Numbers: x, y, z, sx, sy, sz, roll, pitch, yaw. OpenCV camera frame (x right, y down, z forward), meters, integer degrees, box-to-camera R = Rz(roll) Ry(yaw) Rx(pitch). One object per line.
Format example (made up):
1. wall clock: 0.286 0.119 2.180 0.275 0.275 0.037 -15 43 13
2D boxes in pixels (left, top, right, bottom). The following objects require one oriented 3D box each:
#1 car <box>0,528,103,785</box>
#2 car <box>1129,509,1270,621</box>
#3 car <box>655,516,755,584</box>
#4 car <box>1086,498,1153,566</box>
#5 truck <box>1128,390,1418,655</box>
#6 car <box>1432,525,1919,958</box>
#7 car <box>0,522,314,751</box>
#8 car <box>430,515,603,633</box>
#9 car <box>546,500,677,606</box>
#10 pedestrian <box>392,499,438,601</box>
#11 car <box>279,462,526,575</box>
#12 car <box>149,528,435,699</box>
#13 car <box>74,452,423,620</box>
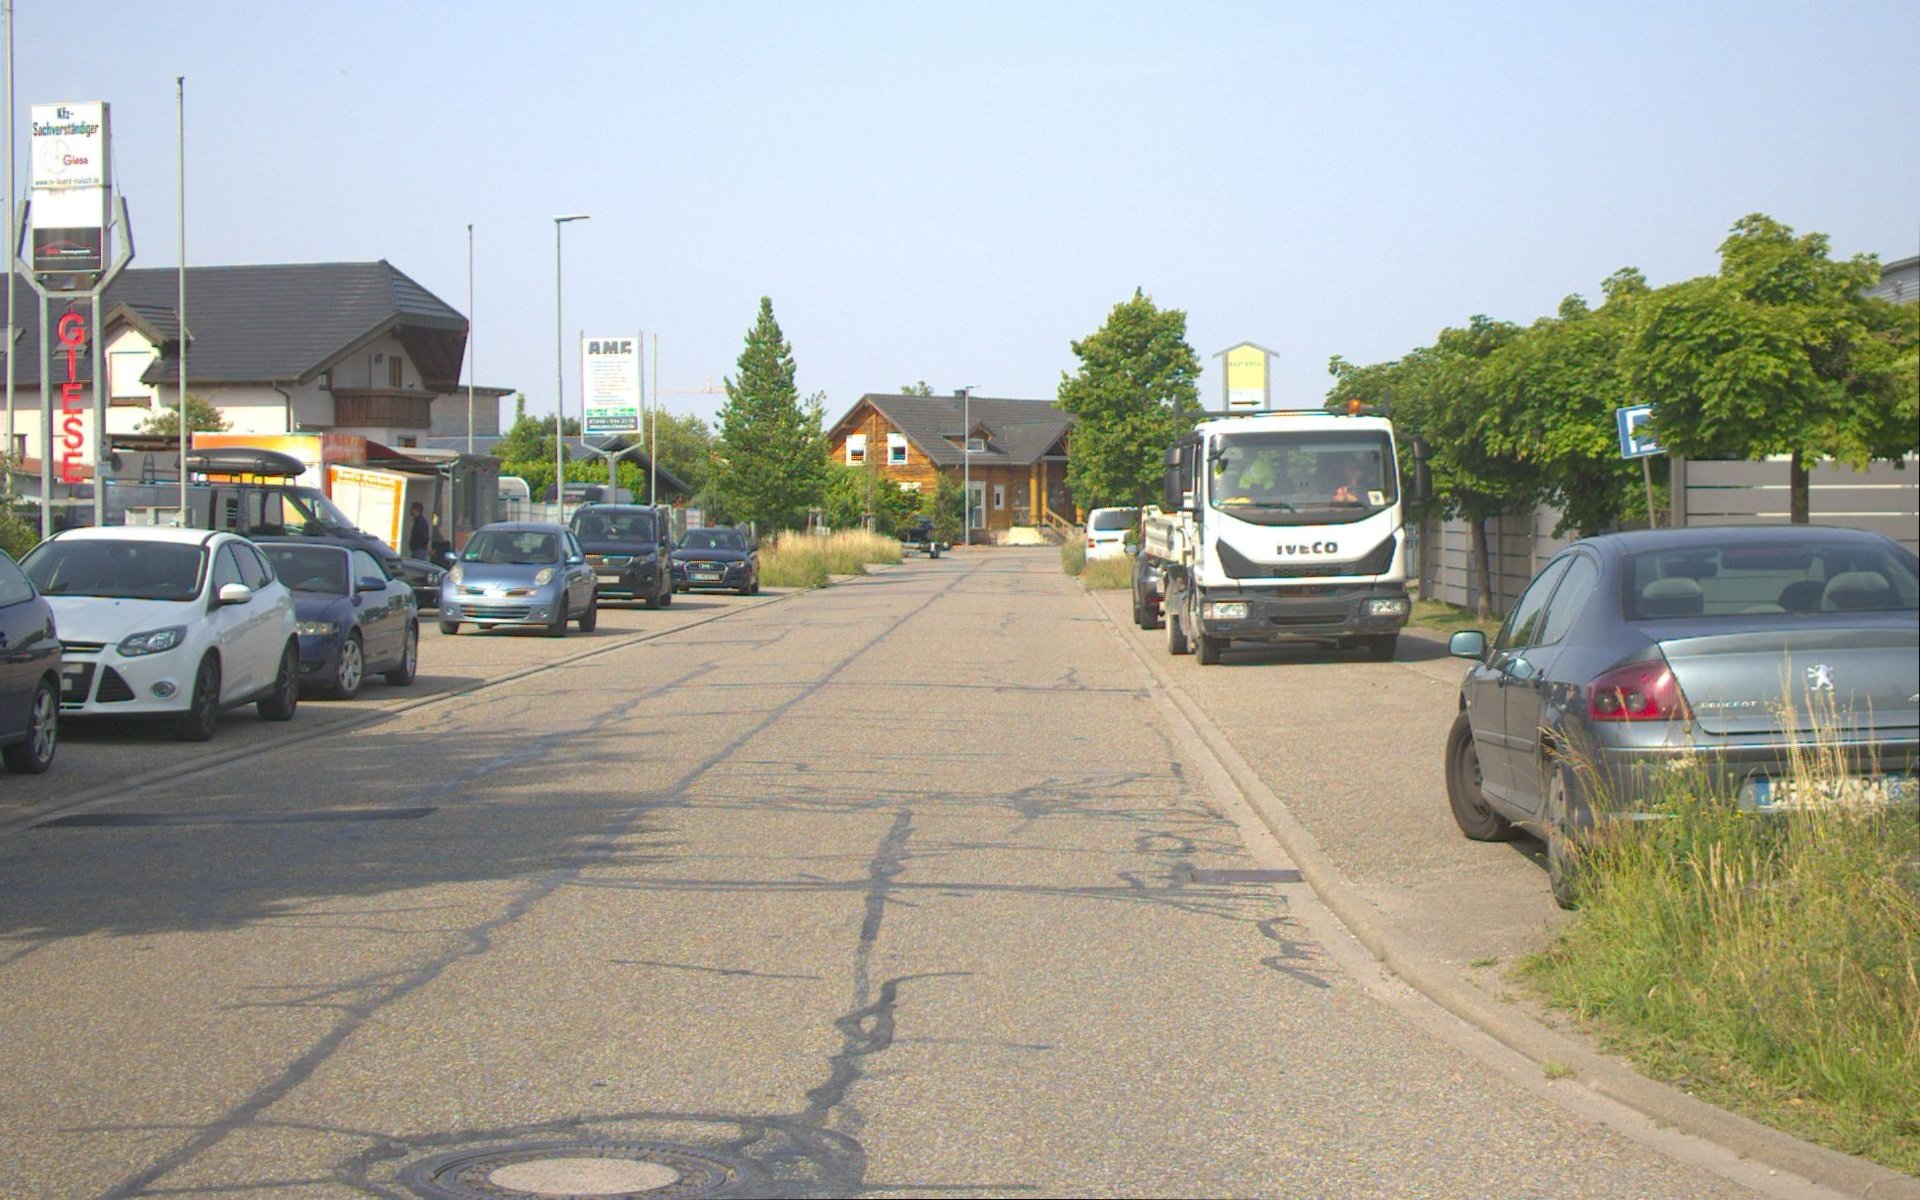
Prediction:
1. car: -6.239 0.316 19.466 1.578 1.438 3.963 1 1 3
2. car: 3.417 -0.534 49.615 1.794 1.555 4.000 0 1 1
3. car: -5.435 -1.090 73.673 1.800 1.382 3.638 1 2 1
4. car: 4.611 -1.992 99.996 1.838 1.917 3.756 -1 1 2
5. truck: 3.317 -0.862 37.972 2.359 2.672 6.512 0 1 -2
6. car: 3.135 0.451 14.312 1.794 1.512 4.424 0 1 1
7. car: -5.979 0.194 24.913 1.683 1.464 4.254 1 1 1
8. car: -5.991 -0.385 46.806 1.633 1.512 3.605 1 1 4
9. car: -6.145 -0.870 60.980 1.800 1.768 4.203 1 2 1
10. pedestrian: -9.205 -0.841 58.065 0.562 1.709 0.534 -2 2 -36
11. car: -13.255 -1.940 81.747 5.163 2.577 2.574 0 2 22
12. car: -5.946 0.065 31.056 1.633 1.382 4.369 1 1 1
13. car: -10.375 -0.944 50.309 4.627 2.408 2.000 0 1 4
